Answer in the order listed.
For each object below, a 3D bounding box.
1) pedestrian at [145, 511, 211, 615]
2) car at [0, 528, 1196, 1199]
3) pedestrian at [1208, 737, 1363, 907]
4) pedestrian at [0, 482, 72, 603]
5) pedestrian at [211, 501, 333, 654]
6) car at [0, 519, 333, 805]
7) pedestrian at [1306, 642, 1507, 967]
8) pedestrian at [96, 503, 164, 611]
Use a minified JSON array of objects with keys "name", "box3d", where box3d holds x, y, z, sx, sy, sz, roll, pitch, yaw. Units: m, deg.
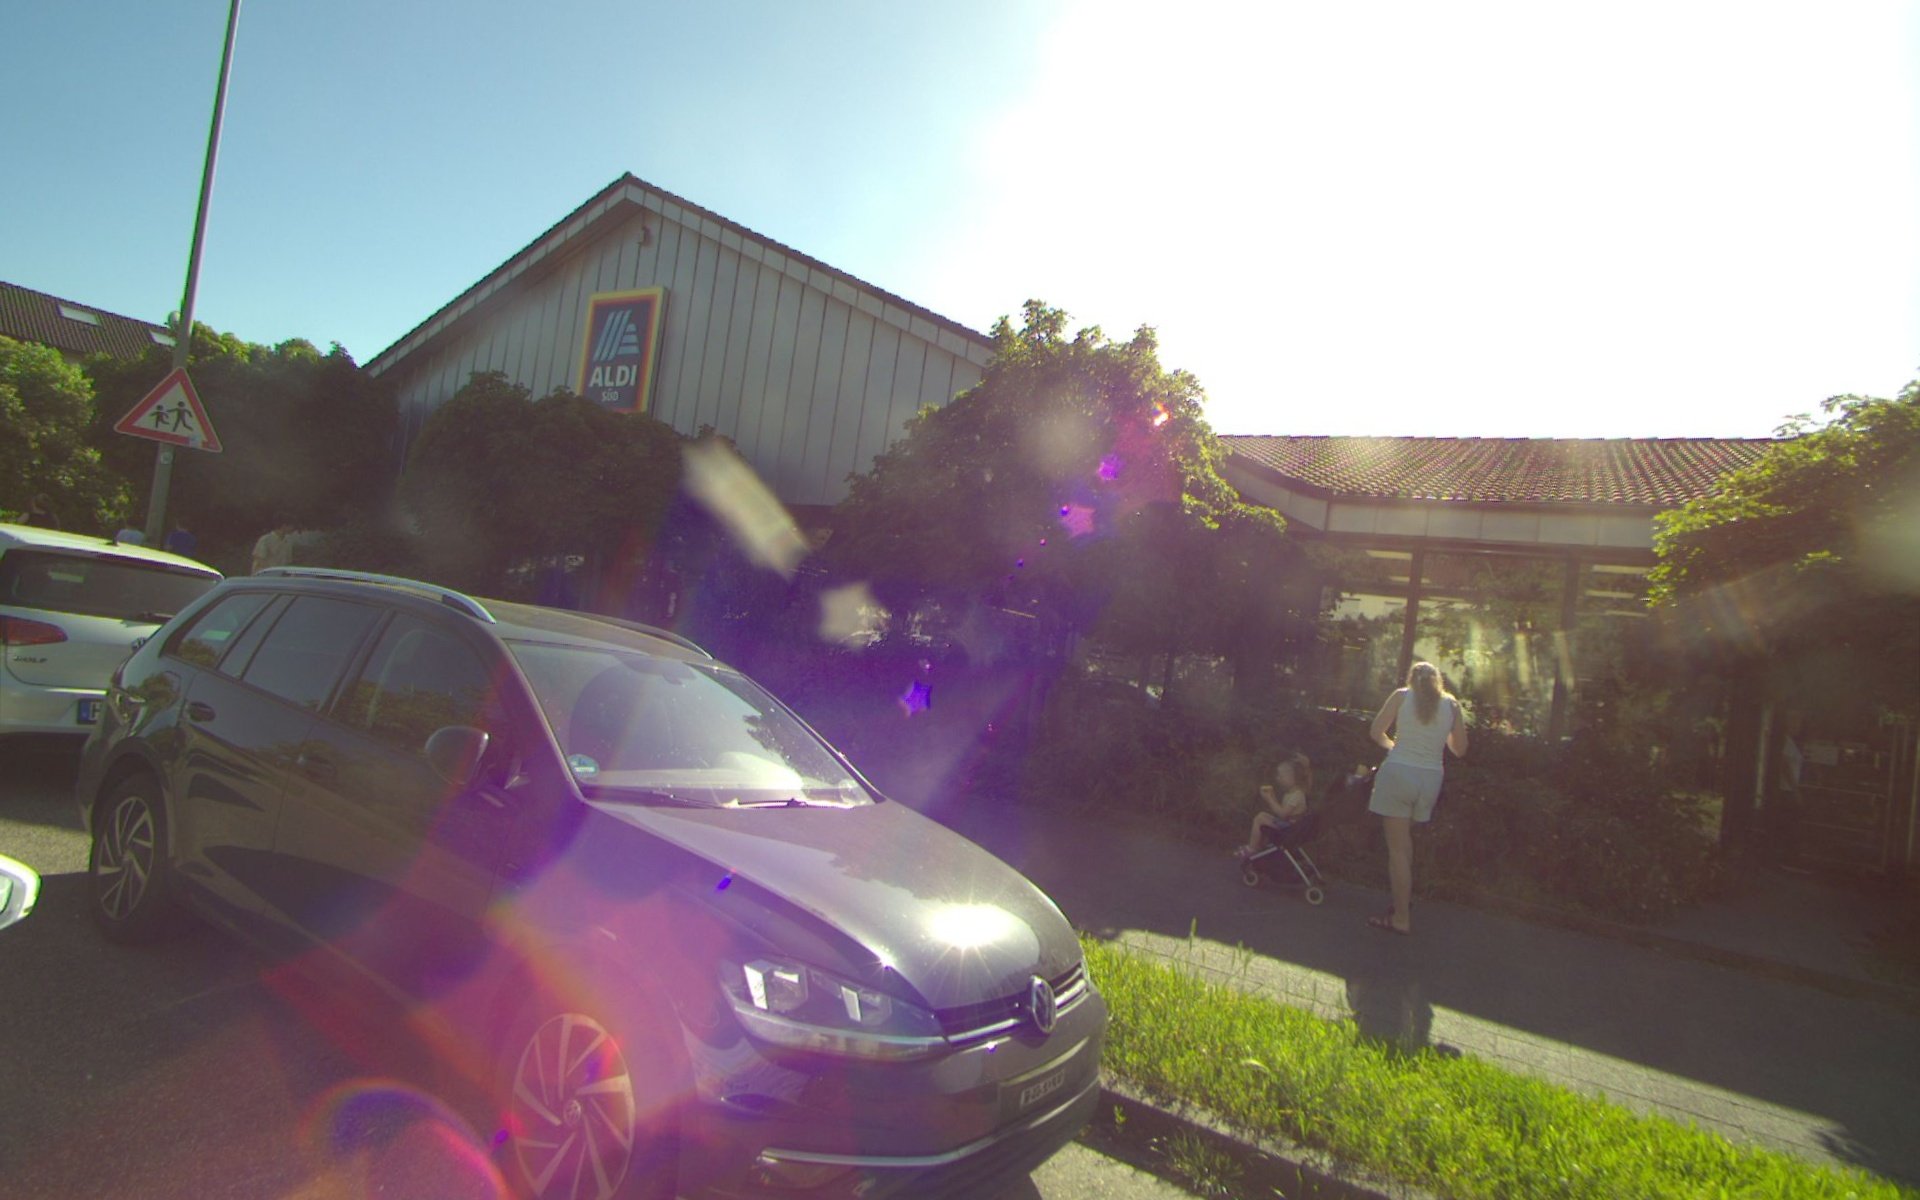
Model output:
[{"name":"pedestrian","box3d":[-13.230,-0.623,17.026,0.538,1.655,0.567,7,-2,36]},{"name":"car","box3d":[-1.562,0.752,3.772,4.291,1.459,1.812,7,-3,32]},{"name":"pedestrian","box3d":[2.292,1.533,7.093,0.798,0.991,0.532,6,-3,39]},{"name":"pedestrian","box3d":[-13.532,-0.833,14.689,0.538,1.655,0.567,7,-2,36]},{"name":"pedestrian","box3d":[-9.251,-0.291,13.551,0.858,1.882,0.797,7,-2,24]},{"name":"car","box3d":[-6.318,0.220,6.728,3.932,1.467,1.832,6,-3,30]},{"name":"pedestrian","box3d":[2.842,1.241,6.387,0.797,1.802,0.798,7,-2,39]},{"name":"pedestrian","box3d":[-13.571,-0.707,16.455,0.538,1.655,0.567,7,-2,36]}]
